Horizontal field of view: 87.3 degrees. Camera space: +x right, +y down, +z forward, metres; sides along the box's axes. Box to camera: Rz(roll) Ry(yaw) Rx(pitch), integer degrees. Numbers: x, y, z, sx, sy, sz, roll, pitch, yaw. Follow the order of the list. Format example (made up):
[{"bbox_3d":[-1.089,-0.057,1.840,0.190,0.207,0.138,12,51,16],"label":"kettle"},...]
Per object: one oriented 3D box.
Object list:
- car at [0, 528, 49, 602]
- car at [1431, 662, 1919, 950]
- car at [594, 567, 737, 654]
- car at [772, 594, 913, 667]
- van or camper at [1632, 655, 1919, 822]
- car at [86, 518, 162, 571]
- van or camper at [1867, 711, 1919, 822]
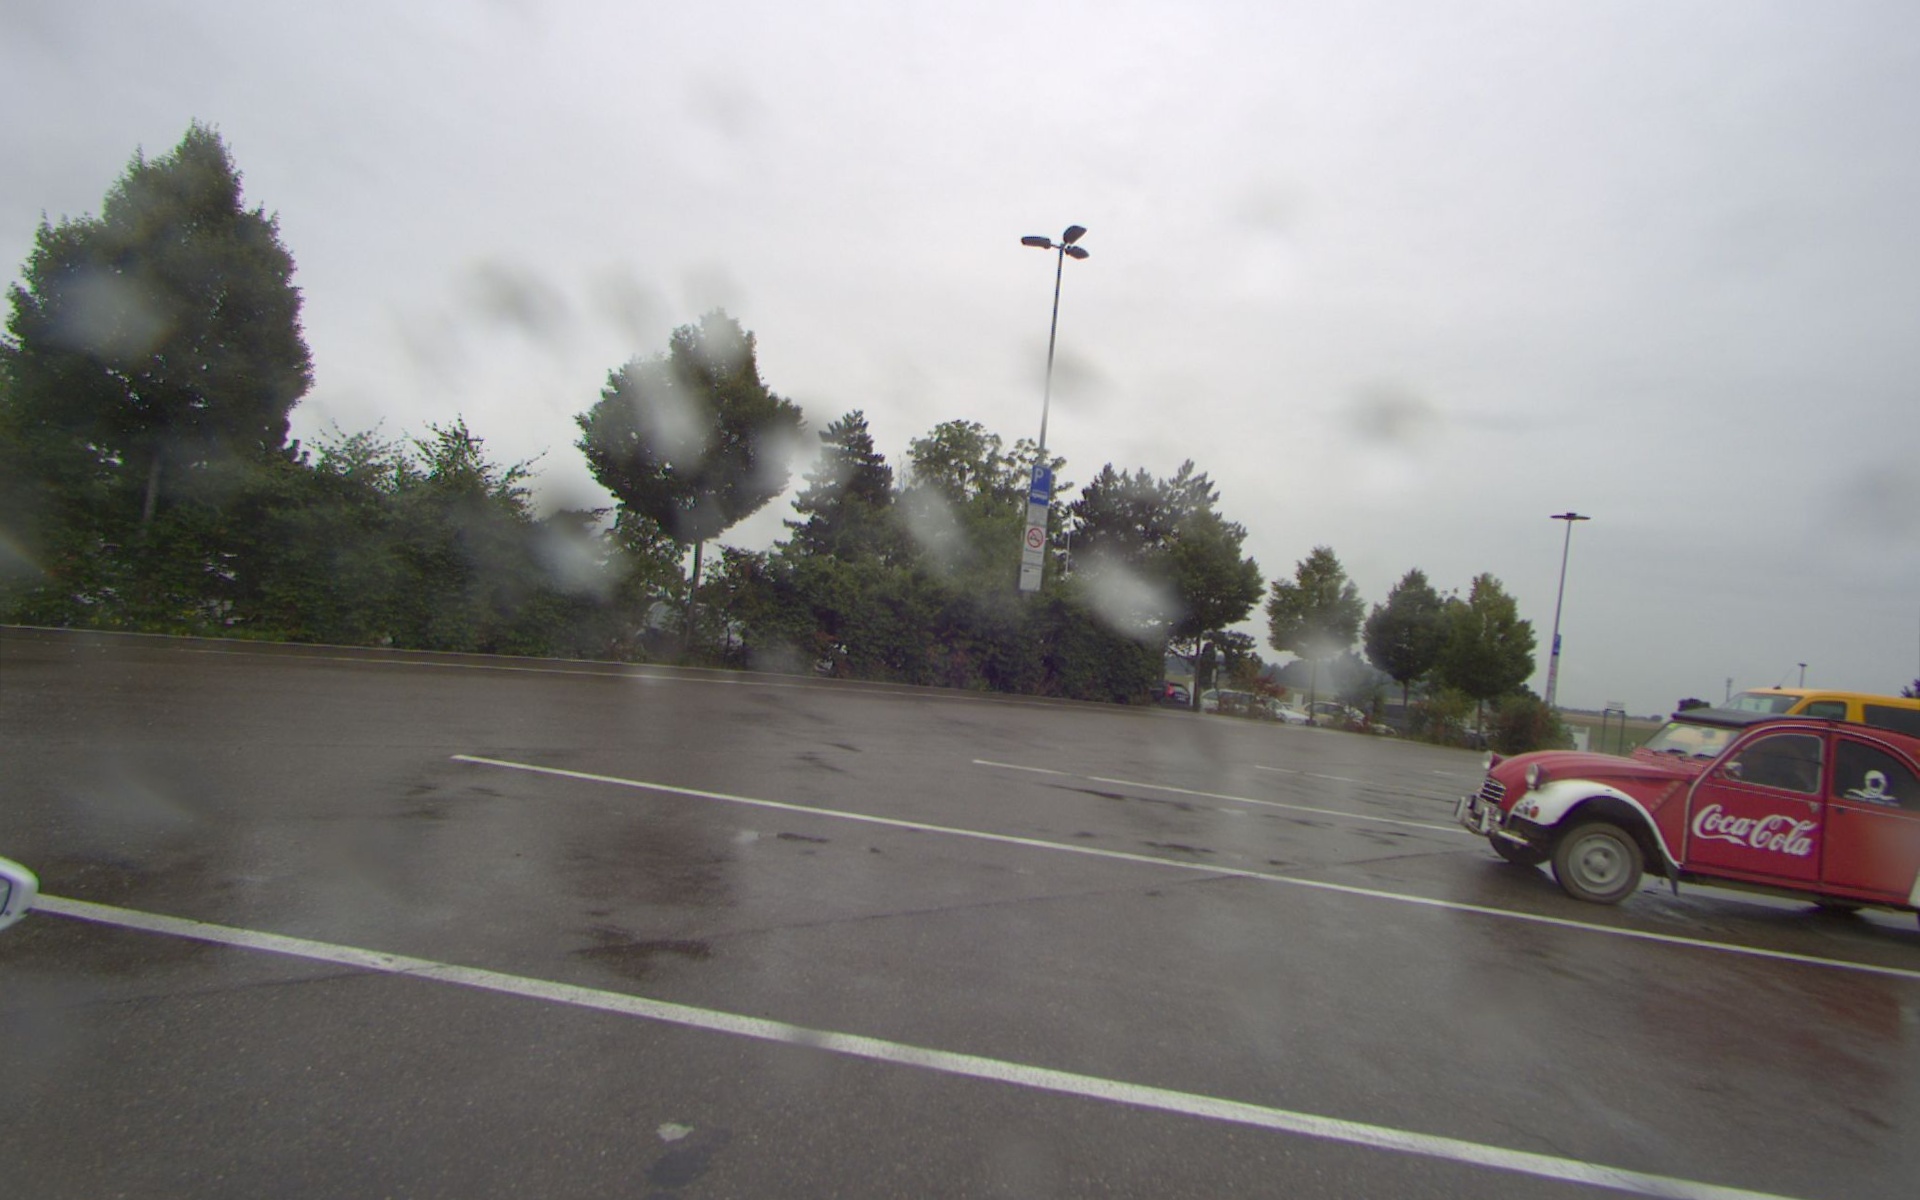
[{"bbox_3d":[-22.012,-0.901,22.505,1.869,1.490,4.721,6,-1,-37],"label":"car"},{"bbox_3d":[5.989,1.516,7.615,3.979,1.574,1.551,7,-1,11],"label":"car"},{"bbox_3d":[-6.907,0.201,23.336,1.771,1.648,4.054,6,-1,-37],"label":"car"},{"bbox_3d":[-3.149,0.756,26.236,1.751,1.515,4.054,6,-1,-37],"label":"car"},{"bbox_3d":[15.697,2.498,17.403,6.295,2.274,2.136,7,0,7],"label":"van or camper"},{"bbox_3d":[-31.793,-2.103,38.349,1.783,1.713,4.011,6,-1,-35],"label":"car"},{"bbox_3d":[28.720,4.837,26.559,6.933,2.750,2.000,7,1,7],"label":"van or camper"}]
